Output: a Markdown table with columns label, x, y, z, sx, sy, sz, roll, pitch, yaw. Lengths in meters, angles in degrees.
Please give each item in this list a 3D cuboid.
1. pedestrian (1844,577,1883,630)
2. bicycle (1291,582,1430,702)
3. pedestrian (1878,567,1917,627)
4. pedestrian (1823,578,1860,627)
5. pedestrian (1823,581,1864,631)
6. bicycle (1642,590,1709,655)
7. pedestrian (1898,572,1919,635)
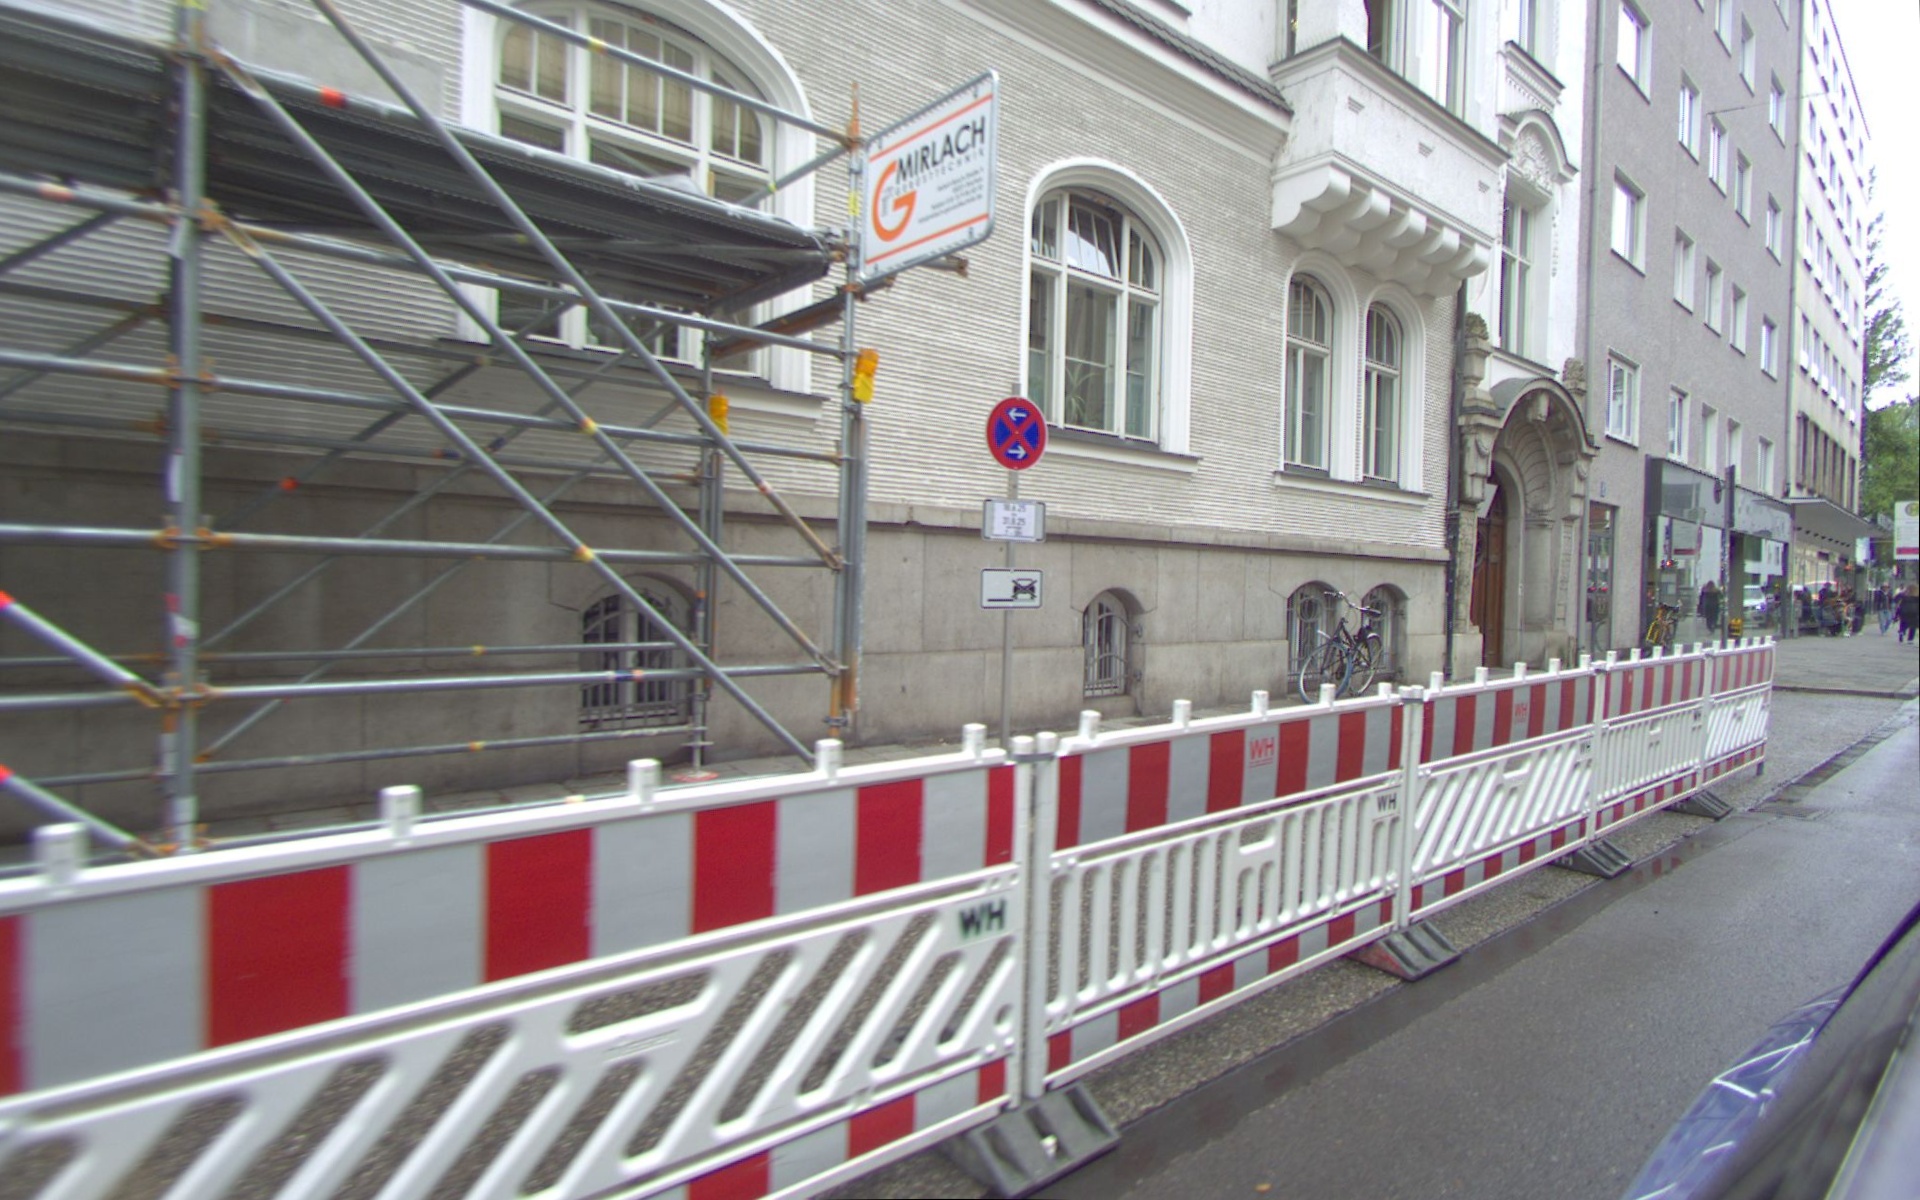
| label | x | y | z | sx | sy | sz | roll | pitch | yaw |
| --- | --- | --- | --- | --- | --- | --- | --- | --- | --- |
| pedestrian | 28.298 | 0.099 | 31.702 | 0.835 | 1.609 | 0.793 | 2 | 2 | 44 |
| bicycle | 4.326 | 0.413 | 10.887 | 1.624 | 1.186 | 0.684 | 0 | 2 | -40 |
| pedestrian | 30.061 | -0.110 | 32.464 | 0.807 | 1.883 | 0.825 | 0 | 1 | -43 |
| pedestrian | 26.937 | 0.073 | 30.922 | 0.561 | 1.465 | 0.747 | 0 | 2 | -41 |
| pedestrian | 26.189 | 0.163 | 30.007 | 0.835 | 1.424 | 0.852 | 2 | 2 | 44 |
| bicycle | 13.228 | 0.381 | 18.704 | 1.813 | 1.131 | 0.592 | 0 | 2 | -42 |
| pedestrian | 26.595 | 0.102 | 28.083 | 0.605 | 1.737 | 0.745 | 0 | 2 | -41 |
